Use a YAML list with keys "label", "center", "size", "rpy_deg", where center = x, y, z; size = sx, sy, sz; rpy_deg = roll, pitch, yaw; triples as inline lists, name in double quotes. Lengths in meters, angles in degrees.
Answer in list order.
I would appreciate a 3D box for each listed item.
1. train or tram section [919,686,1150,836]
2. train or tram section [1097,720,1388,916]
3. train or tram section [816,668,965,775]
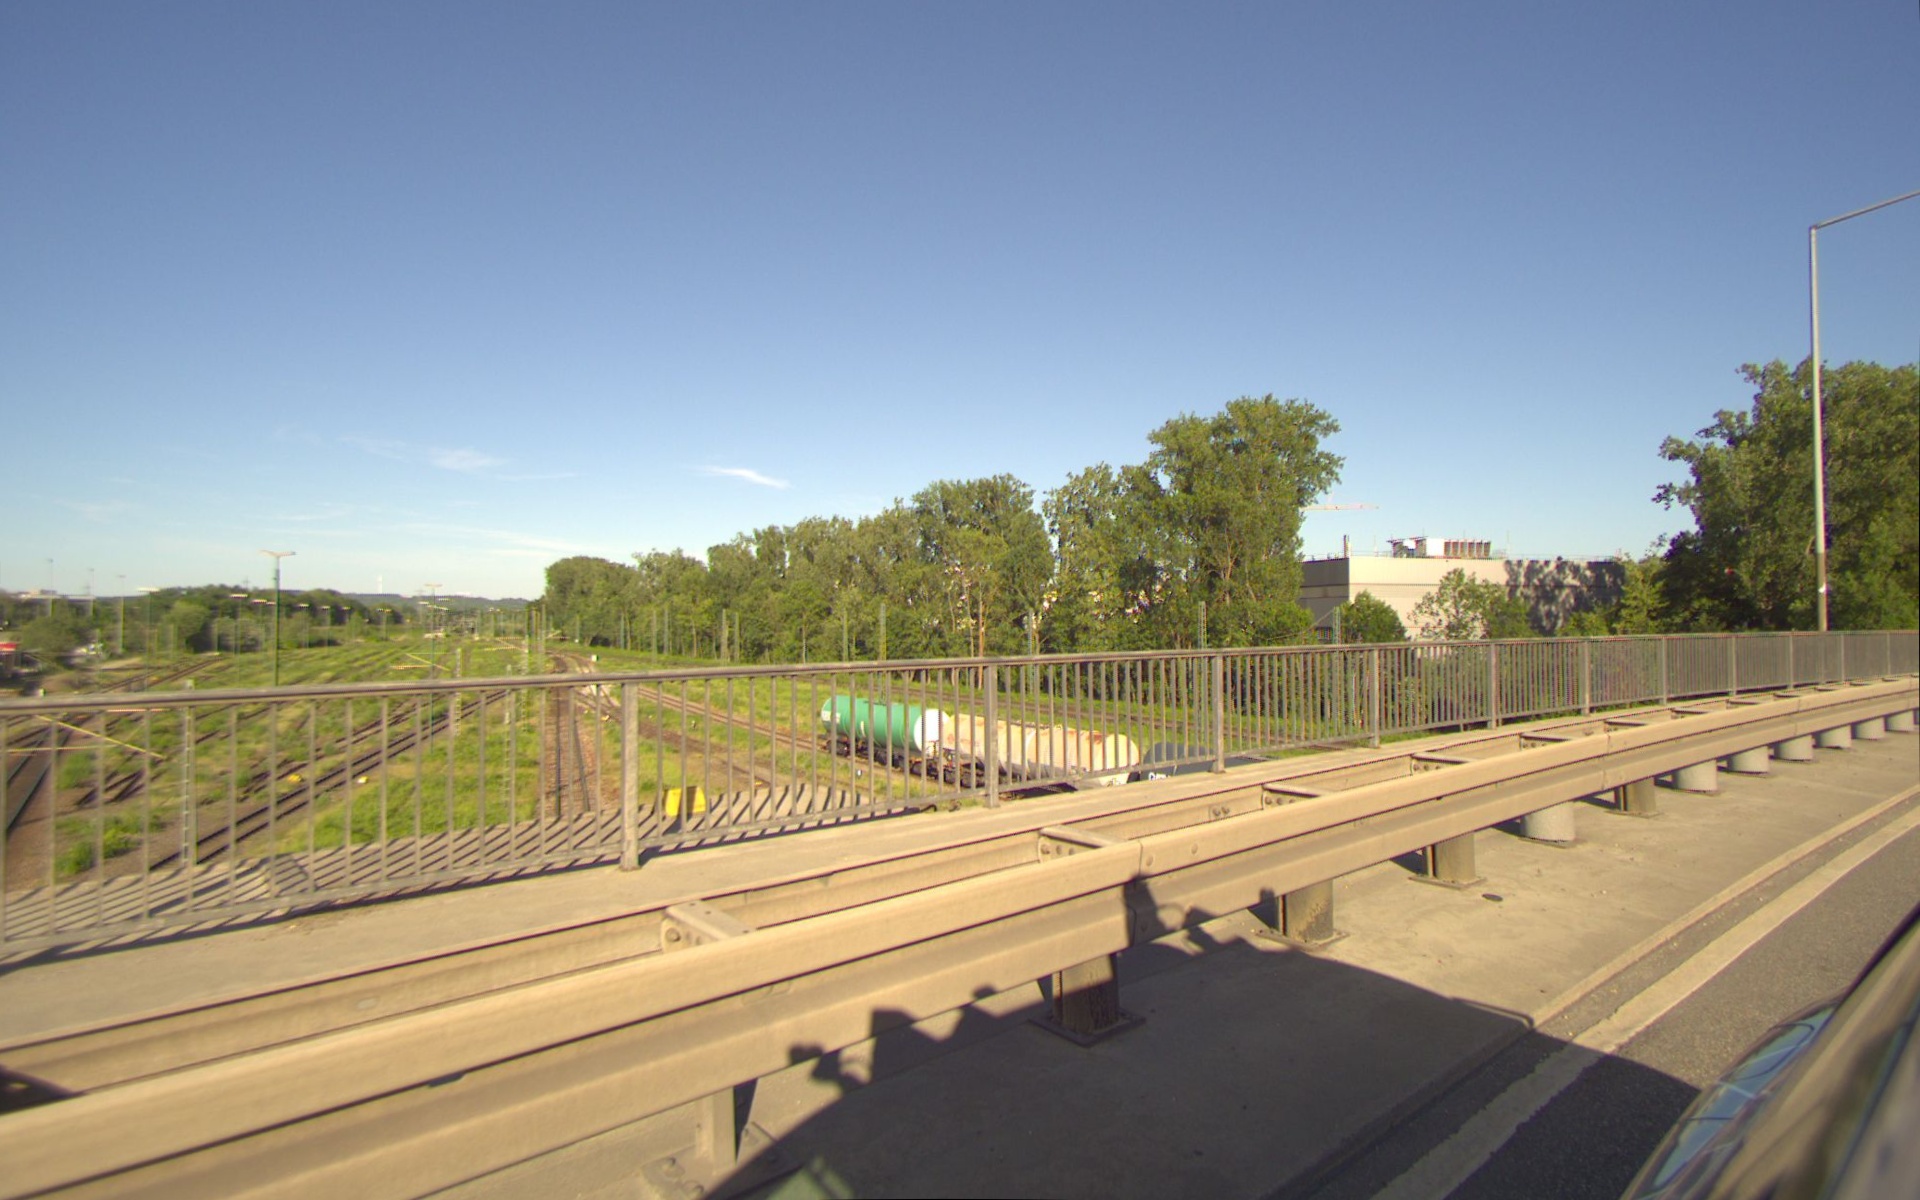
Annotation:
- label: "train or tram section"
  center: [3.395, 8.315, 55.938]
  size: [3.271, 5.327, 16.893]
  rpy_deg: [1, 1, -32]
- label: "train or tram section"
  center: [11.431, 8.687, 43.293]
  size: [3.271, 5.331, 13.094]
  rpy_deg: [1, 1, -32]
- label: "train or tram section"
  center: [-5.183, 7.976, 69.523]
  size: [3.271, 5.248, 15.190]
  rpy_deg: [1, 1, -32]
